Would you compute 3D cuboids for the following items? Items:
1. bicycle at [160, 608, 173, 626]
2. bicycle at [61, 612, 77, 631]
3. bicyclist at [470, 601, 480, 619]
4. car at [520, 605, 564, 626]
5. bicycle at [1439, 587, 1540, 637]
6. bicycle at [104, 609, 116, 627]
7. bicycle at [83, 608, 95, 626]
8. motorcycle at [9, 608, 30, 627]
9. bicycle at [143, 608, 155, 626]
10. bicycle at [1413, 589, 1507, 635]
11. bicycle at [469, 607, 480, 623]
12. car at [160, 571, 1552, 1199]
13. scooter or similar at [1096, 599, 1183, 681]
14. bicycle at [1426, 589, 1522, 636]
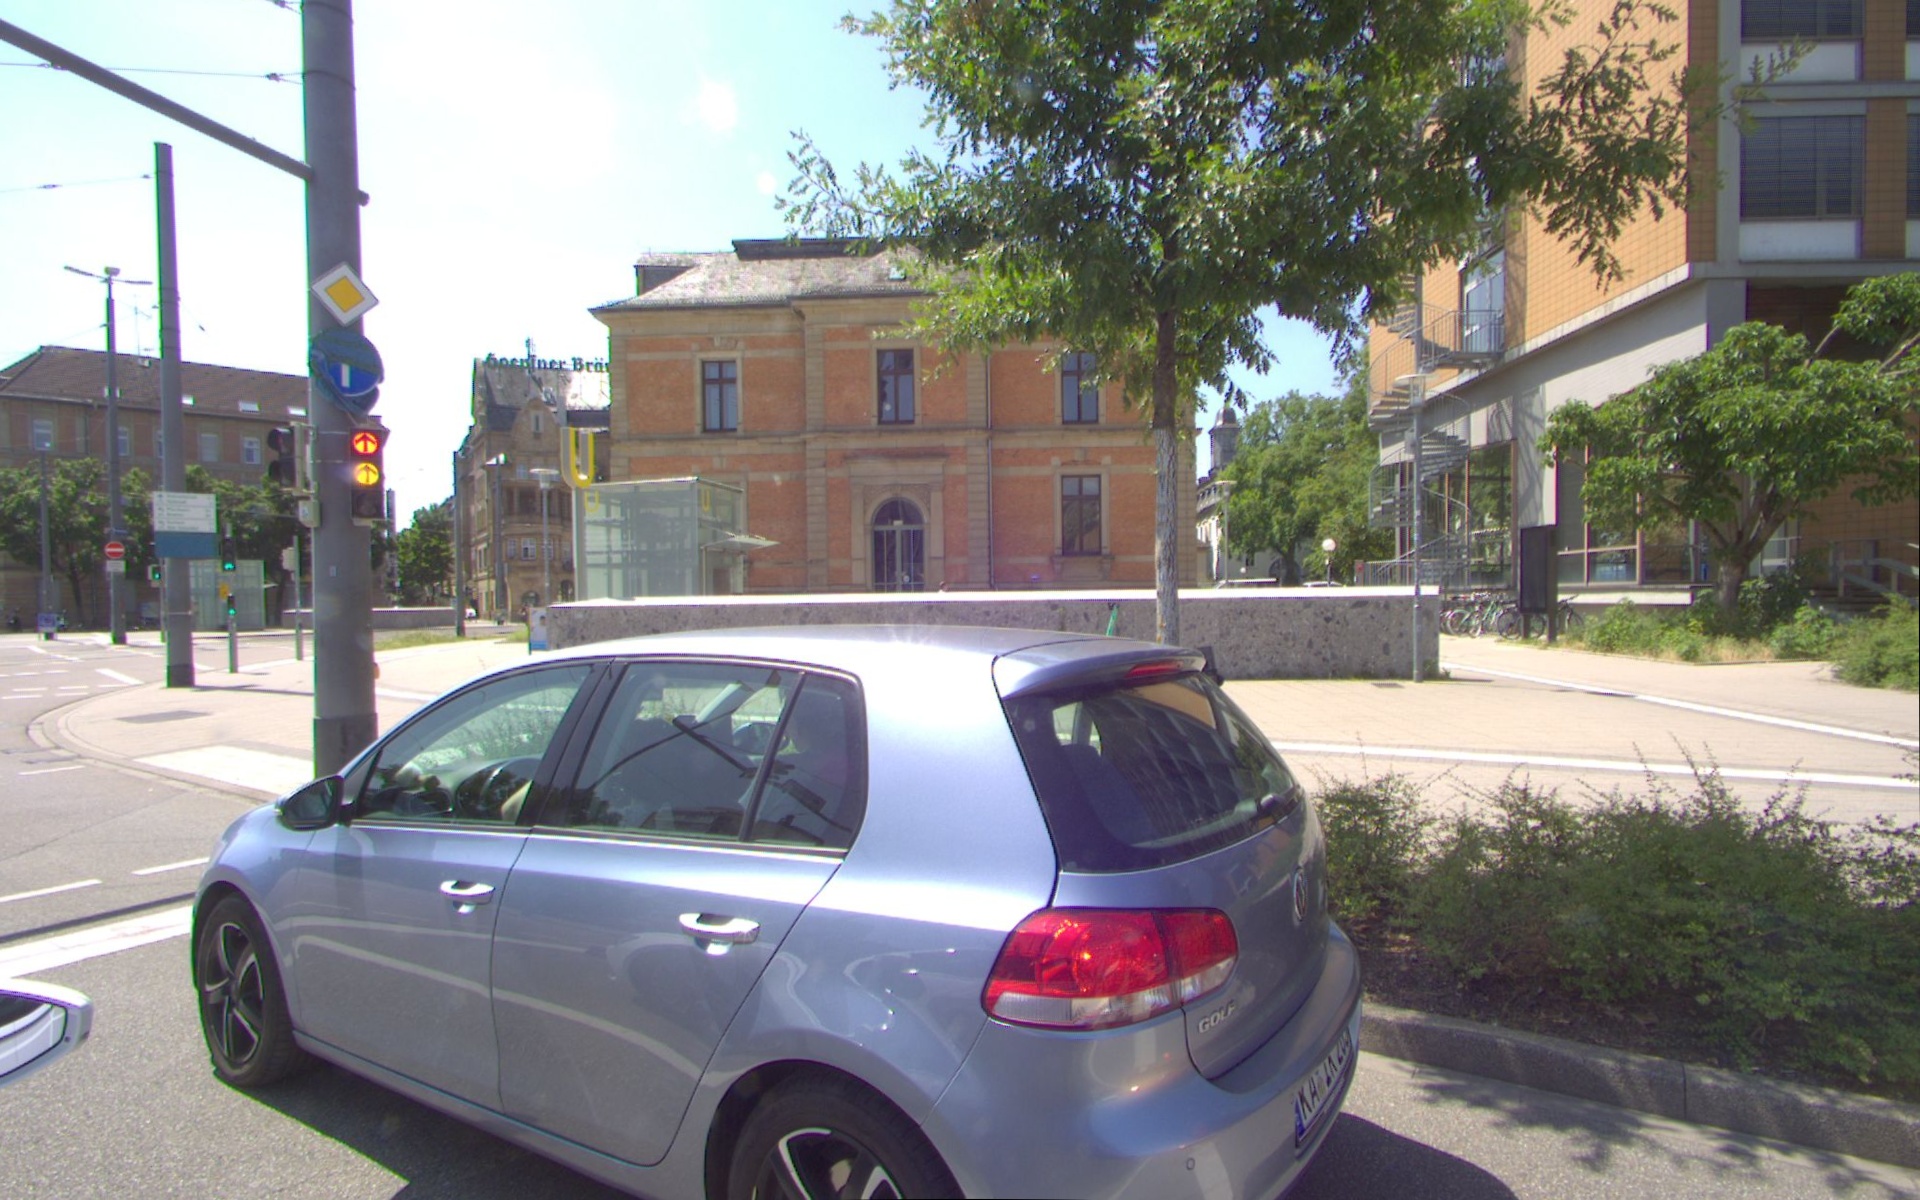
[{"bbox_3d":[-52.092,1.111,65.728,0.547,1.135,1.912,-1,1,-41],"label":"bicycle"},{"bbox_3d":[-54.834,1.330,61.633,2.069,1.160,0.440,-2,-2,39],"label":"bicycle"},{"bbox_3d":[-44.551,0.940,91.916,0.729,1.631,1.072,0,-2,-30],"label":"bicyclist"},{"bbox_3d":[-33.536,1.221,80.430,1.662,1.626,3.651,0,0,8],"label":"car"},{"bbox_3d":[13.501,0.311,25.574,2.175,1.234,0.637,0,-1,5],"label":"bicycle"},{"bbox_3d":[-53.422,1.114,62.937,0.547,1.135,1.804,-1,1,-41],"label":"bicycle"},{"bbox_3d":[-54.099,1.053,62.193,0.547,1.135,1.804,-1,1,-41],"label":"bicycle"},{"bbox_3d":[-56.169,1.055,59.782,1.920,1.089,0.578,0,1,36],"label":"motorcycle"},{"bbox_3d":[-52.446,1.096,64.739,0.547,1.135,1.854,-1,1,-41],"label":"bicycle"},{"bbox_3d":[13.576,0.334,27.236,2.175,1.234,0.637,0,-1,5],"label":"bicycle"},{"bbox_3d":[-44.566,1.387,91.918,0.729,1.416,2.004,1,-2,-29],"label":"bicycle"},{"bbox_3d":[-0.554,0.739,2.966,3.946,1.478,1.648,0,-1,32],"label":"car"},{"bbox_3d":[2.647,0.582,14.755,1.227,1.186,0.458,0,1,13],"label":"scooter or similar"},{"bbox_3d":[13.562,0.341,26.466,2.175,1.234,0.637,0,-1,5],"label":"bicycle"}]
